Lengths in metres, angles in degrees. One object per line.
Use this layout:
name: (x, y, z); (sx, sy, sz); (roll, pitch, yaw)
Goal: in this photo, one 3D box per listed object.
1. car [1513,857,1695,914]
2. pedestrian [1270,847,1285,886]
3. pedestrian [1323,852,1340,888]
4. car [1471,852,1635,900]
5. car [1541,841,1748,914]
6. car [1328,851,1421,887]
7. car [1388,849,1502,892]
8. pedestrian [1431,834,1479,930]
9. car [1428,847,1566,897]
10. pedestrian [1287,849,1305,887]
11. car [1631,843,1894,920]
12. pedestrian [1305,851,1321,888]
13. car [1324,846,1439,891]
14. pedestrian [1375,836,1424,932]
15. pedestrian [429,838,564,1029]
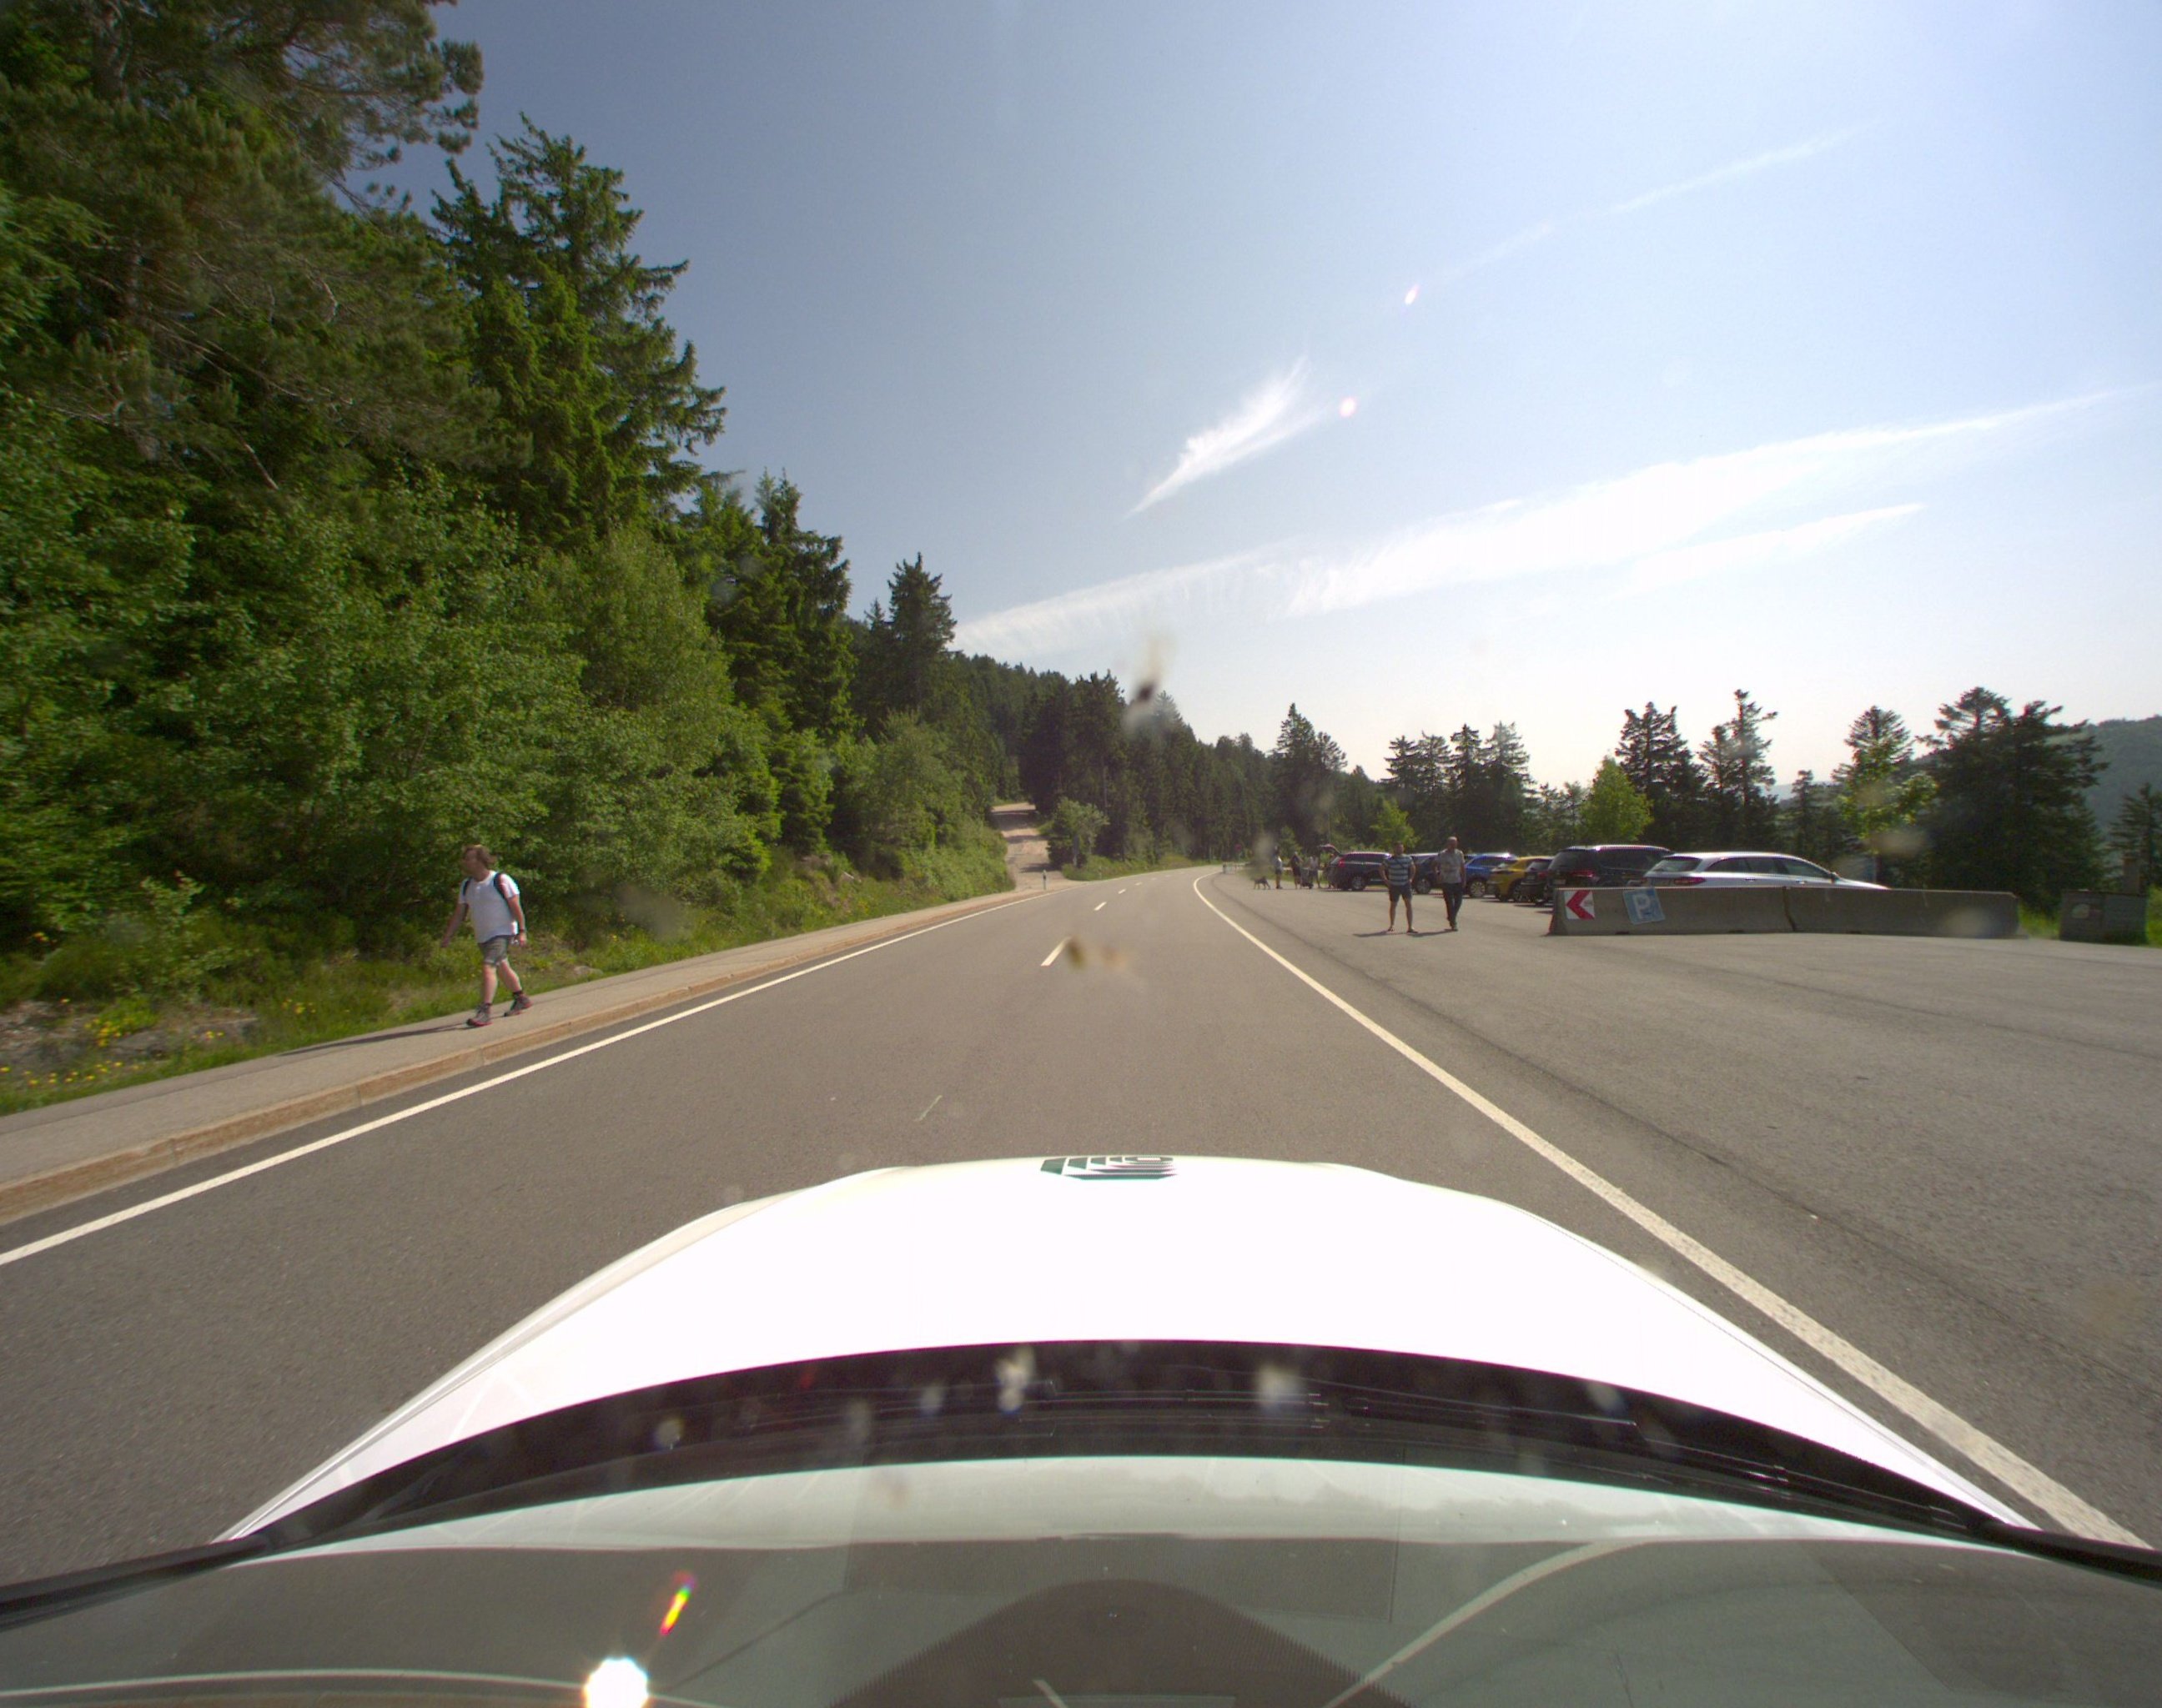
car: (14.600, 0.858, 22.898); (3.981, 1.436, 1.764); (1, 0, 2)
pedestrian: (9.060, 0.574, 37.550); (0.613, 1.775, 0.726); (-1, -1, 10)
pedestrian: (11.442, 0.743, 37.244); (0.611, 1.587, 0.739); (-2, 1, 22)
car: (14.697, 0.668, 25.534); (3.971, 1.353, 1.988); (-1, 0, 2)
car: (13.592, 0.546, 19.779); (3.975, 1.647, 1.600); (1, -1, -1)
car: (13.708, 0.697, 38.180); (3.806, 1.661, 1.652); (0, -1, -2)
car: (14.196, 0.645, 31.827); (3.743, 1.567, 1.598); (-1, 0, -3)
pedestrian: (7.020, 0.515, 15.328); (0.660, 1.741, 0.898); (-2, 0, 17)
car: (14.524, 0.610, 28.578); (3.975, 1.535, 1.807); (-1, 3, -1)
pedestrian: (9.777, 0.620, 37.036); (0.711, 1.692, 0.620); (-1, -1, 10)
car: (13.938, 0.535, 16.828); (3.974, 1.476, 1.773); (1, 0, 0)
pedestrian: (11.019, 0.732, 38.699); (0.647, 1.660, 0.691); (-2, 1, 16)
car: (12.871, 0.597, 35.035); (4.249, 1.793, 1.892); (-1, 1, 0)
pedestrian: (6.016, 0.555, 15.435); (0.748, 1.760, 0.779); (-2, 0, 16)
pedestrian: (-5.657, 0.734, 7.935); (0.680, 1.746, 0.825); (-1, 0, 0)
